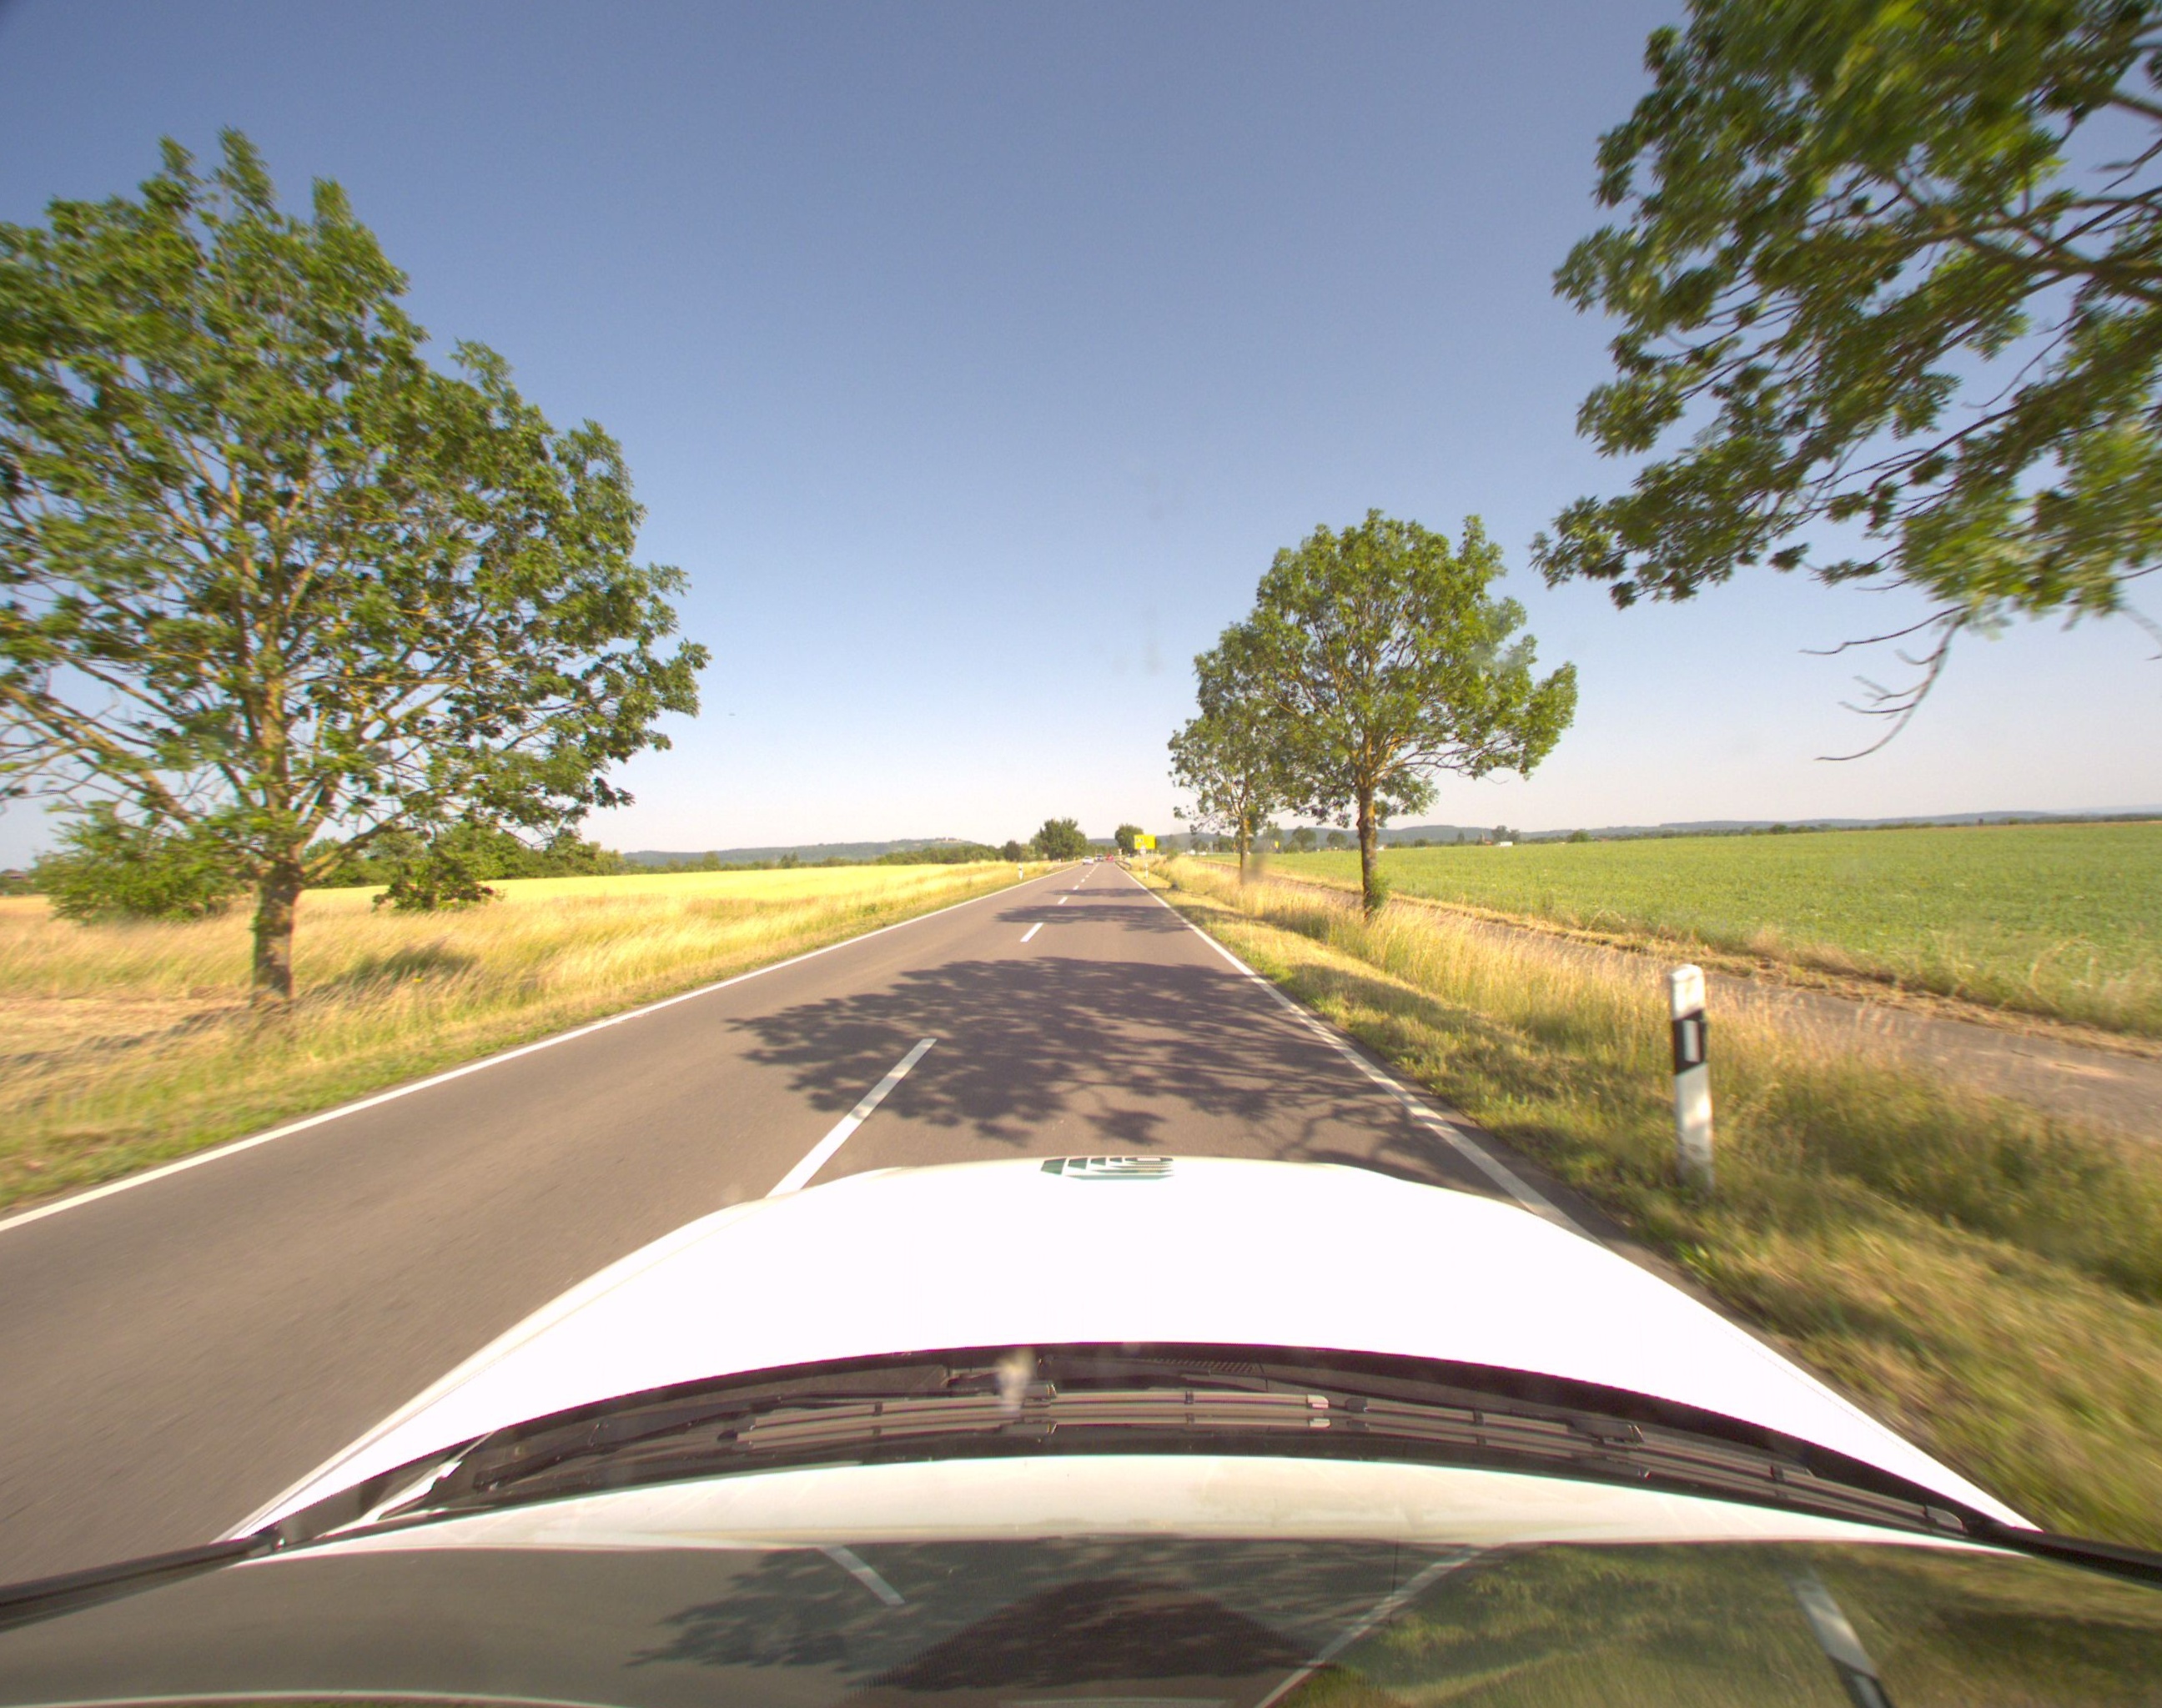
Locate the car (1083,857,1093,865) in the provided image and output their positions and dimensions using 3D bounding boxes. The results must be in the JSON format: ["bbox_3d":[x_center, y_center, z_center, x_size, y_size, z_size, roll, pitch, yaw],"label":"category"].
[{"bbox_3d":[1.325,1.268,148.104,1.720,1.437,4.517,-1,-1,1],"label":"car"}]

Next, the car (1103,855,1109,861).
[{"bbox_3d":[6.888,1.141,224.107,1.600,1.488,3.781,-1,0,2],"label":"car"}]

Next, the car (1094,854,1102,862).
[{"bbox_3d":[4.174,1.038,202.094,1.829,1.787,4.437,-1,0,2],"label":"car"}]
